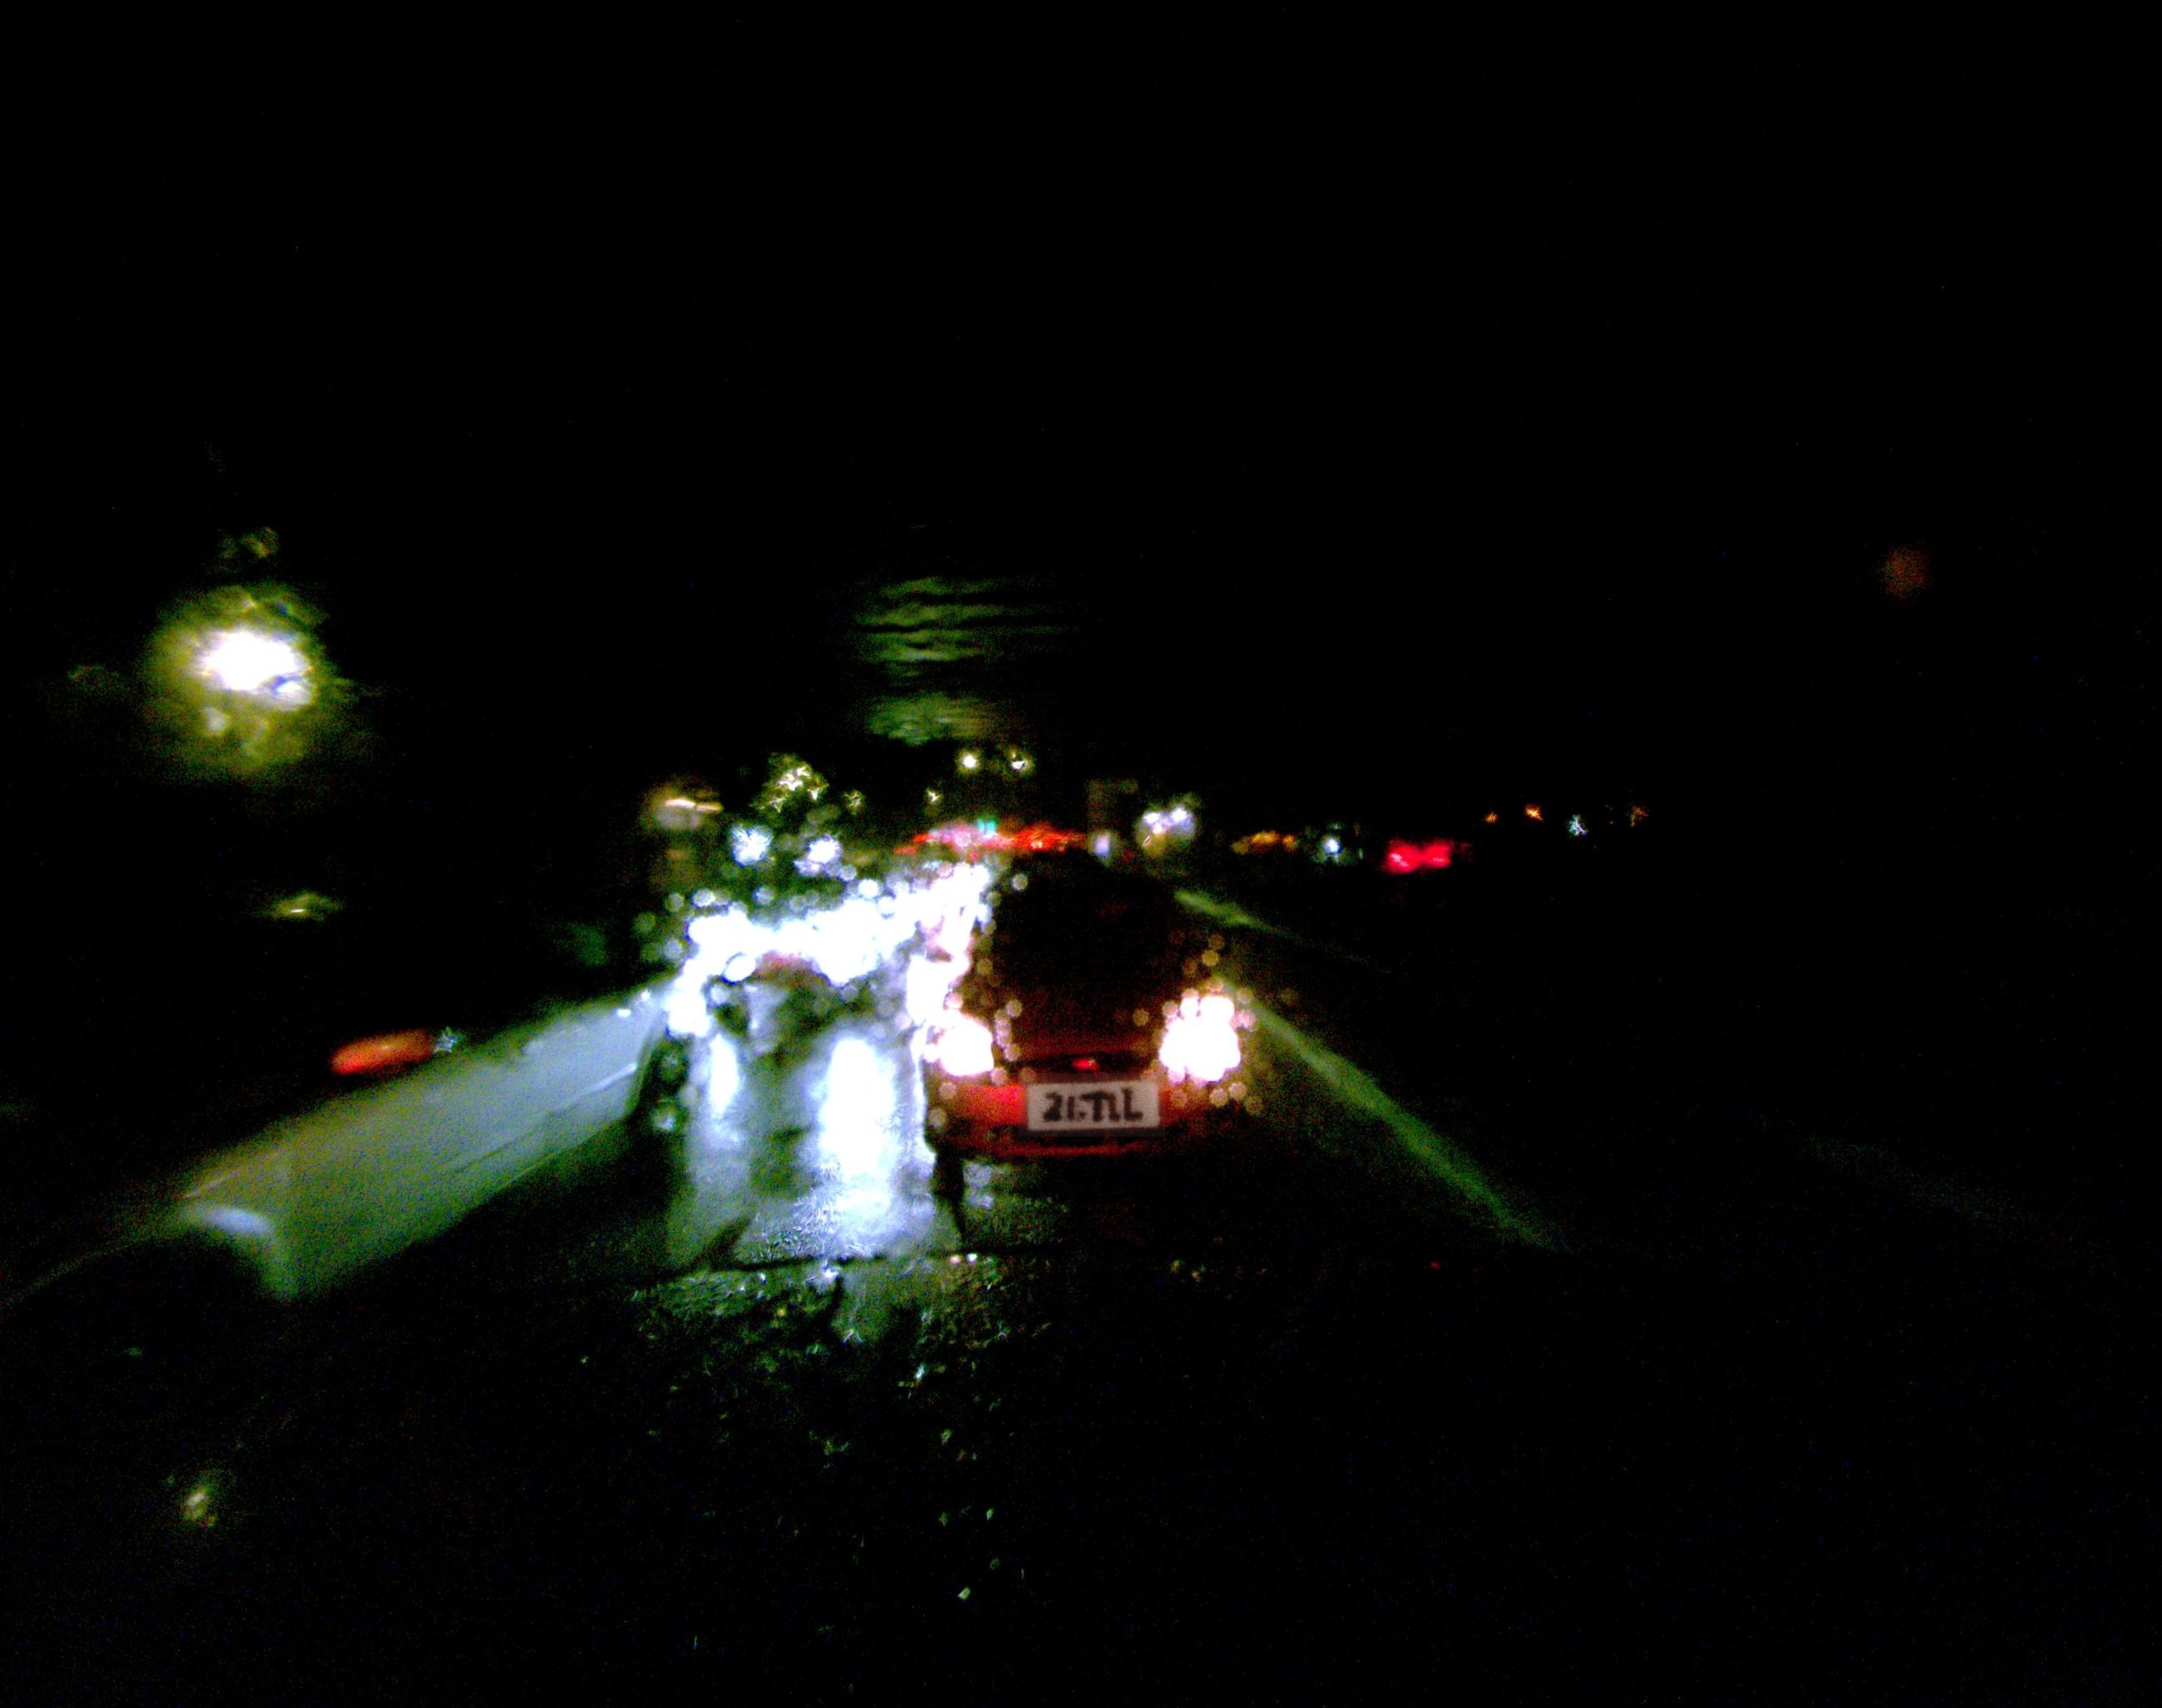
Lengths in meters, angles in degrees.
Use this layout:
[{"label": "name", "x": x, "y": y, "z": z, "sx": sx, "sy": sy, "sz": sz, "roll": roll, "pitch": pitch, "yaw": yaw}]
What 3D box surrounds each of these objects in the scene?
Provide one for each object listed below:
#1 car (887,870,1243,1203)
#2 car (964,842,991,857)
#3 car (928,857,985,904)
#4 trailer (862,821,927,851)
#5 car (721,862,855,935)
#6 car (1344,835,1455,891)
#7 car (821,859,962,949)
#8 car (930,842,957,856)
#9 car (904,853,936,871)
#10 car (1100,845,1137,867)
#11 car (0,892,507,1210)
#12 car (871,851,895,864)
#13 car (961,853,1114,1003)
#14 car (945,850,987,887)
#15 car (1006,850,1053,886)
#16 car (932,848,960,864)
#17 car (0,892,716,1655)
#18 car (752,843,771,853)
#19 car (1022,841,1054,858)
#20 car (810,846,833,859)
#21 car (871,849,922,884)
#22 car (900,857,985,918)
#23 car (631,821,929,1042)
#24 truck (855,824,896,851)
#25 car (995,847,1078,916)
[{"label": "car", "x": -0.046, "y": 0.895, "z": 5.499, "sx": 1.603, "sy": 1.360, "sz": 3.942, "roll": -2, "pitch": 1, "yaw": 1}, {"label": "car", "x": -12.840, "y": -0.494, "z": 93.791, "sx": 1.912, "sy": 1.731, "sz": 4.388, "roll": -3, "pitch": 1, "yaw": -27}, {"label": "car", "x": -4.383, "y": 0.889, "z": 27.191, "sx": 1.683, "sy": 1.463, "sz": 3.998, "roll": -2, "pitch": 1, "yaw": -5}, {"label": "trailer", "x": -29.390, "y": -2.798, "z": 119.057, "sx": 3.977, "sy": 4.152, "sz": 13.882, "roll": -3, "pitch": 1, "yaw": -41}, {"label": "car", "x": -7.306, "y": 1.038, "z": 19.505, "sx": 1.853, "sy": 1.423, "sz": 4.499, "roll": -2, "pitch": 2, "yaw": -3}, {"label": "car", "x": 12.047, "y": 0.295, "z": 29.054, "sx": 2.000, "sy": 1.912, "sz": 4.354, "roll": -2, "pitch": 1, "yaw": -7}, {"label": "car", "x": -3.741, "y": 0.929, "z": 15.731, "sx": 1.869, "sy": 1.503, "sz": 3.766, "roll": -2, "pitch": 1, "yaw": 1}, {"label": "car", "x": -18.639, "y": -0.660, "z": 102.961, "sx": 1.974, "sy": 1.731, "sz": 4.907, "roll": -3, "pitch": 1, "yaw": -29}, {"label": "car", "x": -14.284, "y": 0.664, "z": 67.237, "sx": 1.856, "sy": 1.423, "sz": 4.492, "roll": -3, "pitch": 2, "yaw": -23}, {"label": "car", "x": 2.915, "y": 0.175, "z": 59.760, "sx": 1.913, "sy": 1.578, "sz": 4.077, "roll": 1, "pitch": -1, "yaw": -12}, {"label": "car", "x": -6.521, "y": 1.122, "z": 5.186, "sx": 1.853, "sy": 1.447, "sz": 4.501, "roll": -1, "pitch": 0, "yaw": -2}, {"label": "car", "x": -25.017, "y": 0.430, "z": 95.972, "sx": 1.885, "sy": 1.463, "sz": 3.991, "roll": -3, "pitch": 1, "yaw": -29}, {"label": "car", "x": -0.466, "y": 0.837, "z": 10.609, "sx": 1.683, "sy": 1.591, "sz": 3.996, "roll": -2, "pitch": 1, "yaw": 1}, {"label": "car", "x": -5.388, "y": 0.642, "z": 36.037, "sx": 1.743, "sy": 1.581, "sz": 3.997, "roll": -2, "pitch": 1, "yaw": -6}, {"label": "car", "x": -2.279, "y": 0.597, "z": 34.443, "sx": 1.853, "sy": 1.476, "sz": 4.485, "roll": -1, "pitch": 0, "yaw": -1}, {"label": "car", "x": -13.541, "y": 0.155, "z": 75.988, "sx": 1.856, "sy": 1.423, "sz": 4.492, "roll": -3, "pitch": 2, "yaw": -22}, {"label": "car", "x": -3.185, "y": 1.001, "z": 2.670, "sx": 1.792, "sy": 1.359, "sz": 3.999, "roll": -2, "pitch": 2, "yaw": 0}, {"label": "car", "x": -59.062, "y": -1.056, "z": 140.276, "sx": 1.974, "sy": 1.731, "sz": 4.905, "roll": -3, "pitch": 1, "yaw": -37}, {"label": "car", "x": -4.737, "y": -0.456, "z": 83.560, "sx": 1.862, "sy": 1.739, "sz": 4.497, "roll": -3, "pitch": 1, "yaw": -26}, {"label": "car", "x": -39.508, "y": -0.225, "z": 115.526, "sx": 1.974, "sy": 1.731, "sz": 4.906, "roll": -3, "pitch": 1, "yaw": -35}, {"label": "car", "x": -8.783, "y": 0.566, "z": 36.502, "sx": 1.854, "sy": 1.423, "sz": 4.497, "roll": -2, "pitch": 2, "yaw": -7}, {"label": "car", "x": -3.921, "y": 0.894, "z": 22.163, "sx": 1.629, "sy": 1.494, "sz": 3.999, "roll": -2, "pitch": 1, "yaw": 1}, {"label": "car", "x": -3.353, "y": 0.734, "z": 9.569, "sx": 1.999, "sy": 2.076, "sz": 4.347, "roll": -2, "pitch": 1, "yaw": -1}, {"label": "truck", "x": -33.481, "y": -2.692, "z": 123.796, "sx": 3.977, "sy": 4.152, "sz": 6.359, "roll": -3, "pitch": 1, "yaw": -41}, {"label": "car", "x": -1.111, "y": 0.631, "z": 19.694, "sx": 1.881, "sy": 1.534, "sz": 3.999, "roll": -2, "pitch": 1, "yaw": -2}]
